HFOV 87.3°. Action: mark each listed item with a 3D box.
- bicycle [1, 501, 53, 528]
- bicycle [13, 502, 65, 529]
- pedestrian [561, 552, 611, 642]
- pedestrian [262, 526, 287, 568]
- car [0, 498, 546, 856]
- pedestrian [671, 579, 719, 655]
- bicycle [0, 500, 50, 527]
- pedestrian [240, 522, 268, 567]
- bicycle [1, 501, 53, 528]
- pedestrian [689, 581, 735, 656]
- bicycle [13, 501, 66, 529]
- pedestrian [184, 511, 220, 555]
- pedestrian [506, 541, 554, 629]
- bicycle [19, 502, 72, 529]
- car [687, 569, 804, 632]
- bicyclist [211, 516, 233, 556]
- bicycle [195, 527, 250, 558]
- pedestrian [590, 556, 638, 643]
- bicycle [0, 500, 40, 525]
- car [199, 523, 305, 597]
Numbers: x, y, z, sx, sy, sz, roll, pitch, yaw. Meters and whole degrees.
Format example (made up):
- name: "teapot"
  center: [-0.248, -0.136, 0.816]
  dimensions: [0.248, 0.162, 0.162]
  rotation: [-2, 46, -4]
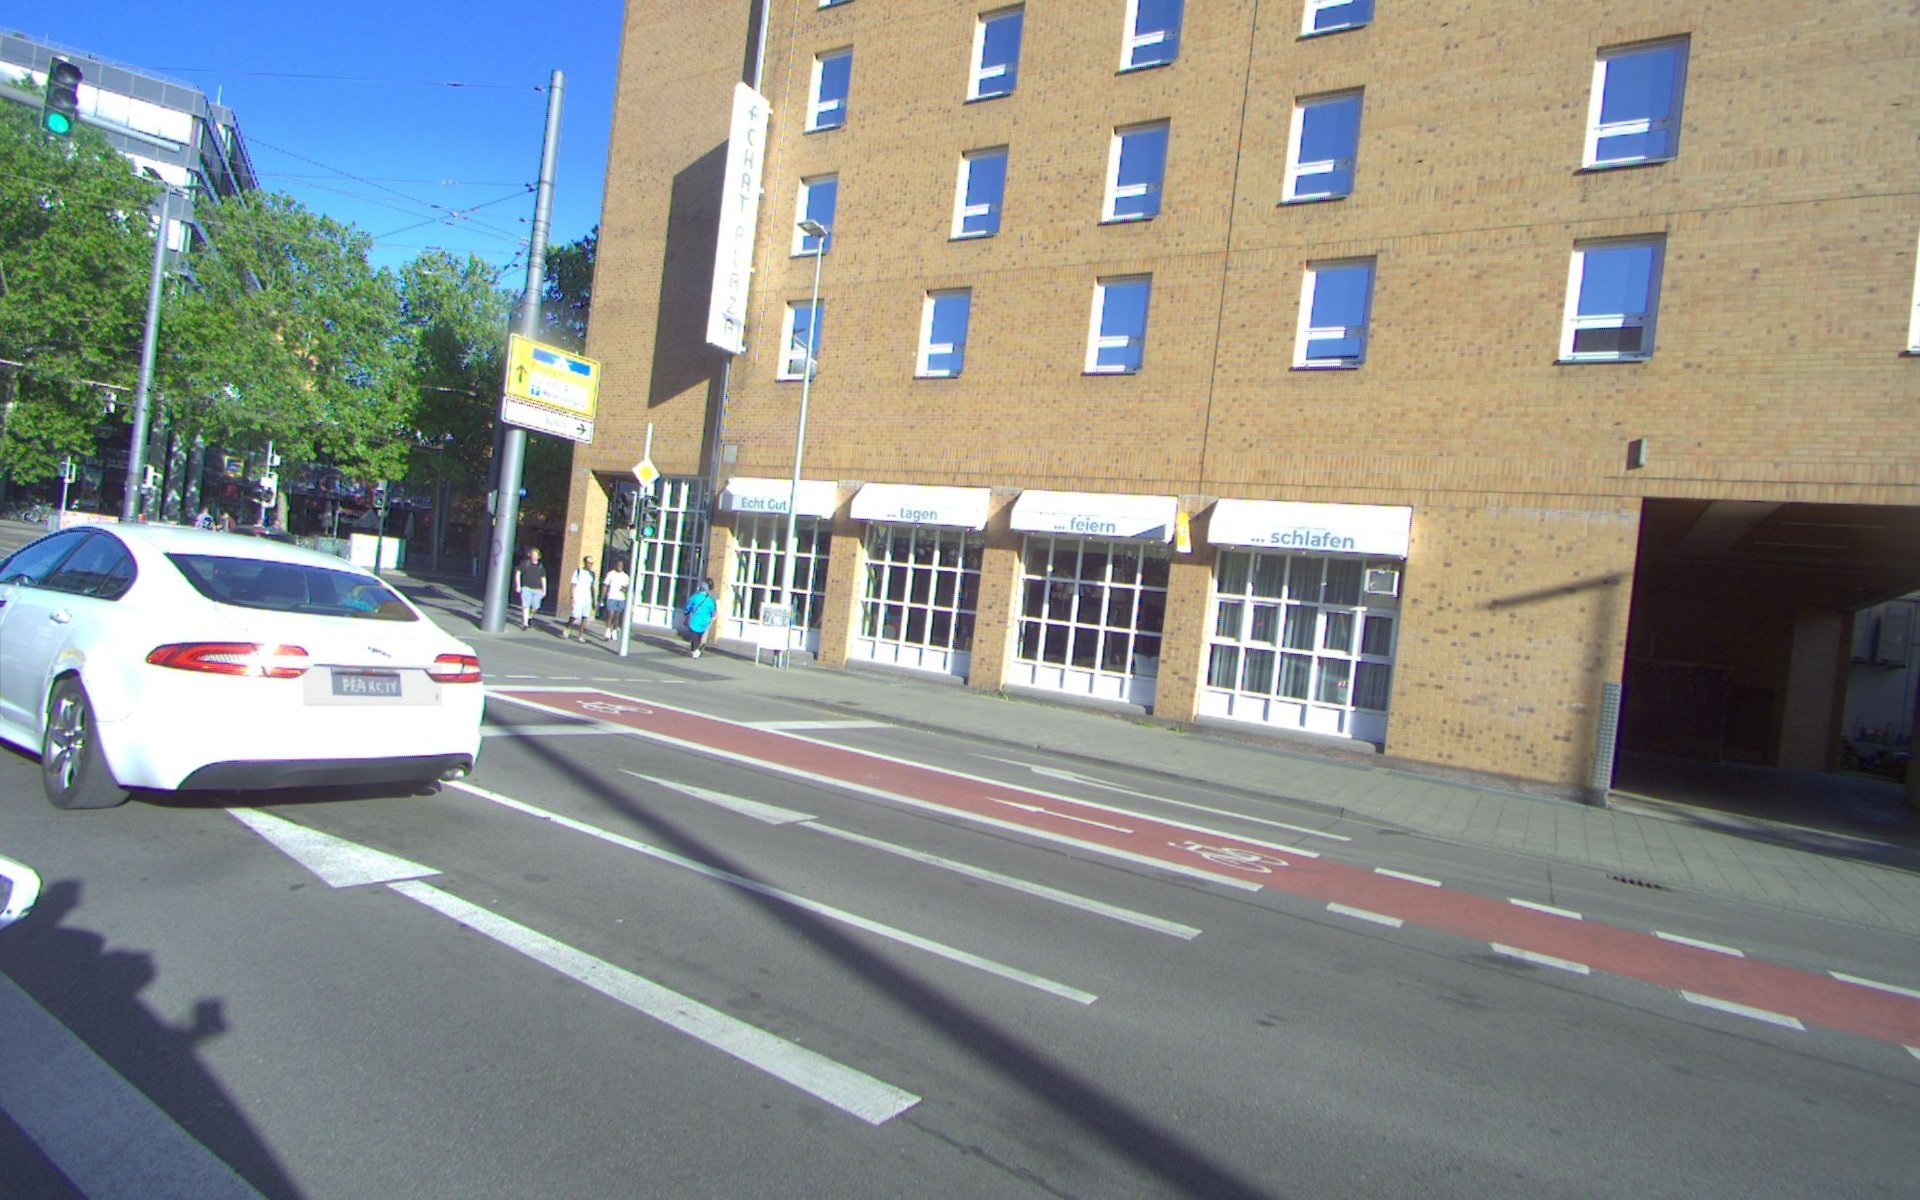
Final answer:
- name: "bicycle"
  center: [-48.398, -4.443, 52.199]
  dimensions: [0.354, 1.058, 1.884]
  rotation: [6, -2, 31]
- name: "bicycle"
  center: [-47.330, -4.338, 51.717]
  dimensions: [0.354, 1.058, 1.884]
  rotation: [6, -2, 31]
- name: "pedestrian"
  center: [-7.833, -0.059, 21.058]
  dimensions: [0.671, 1.804, 0.591]
  rotation: [8, 4, 37]
- name: "pedestrian"
  center: [-25.378, -1.957, 37.244]
  dimensions: [0.563, 1.496, 0.695]
  rotation: [8, -2, -37]
- name: "car"
  center: [-4.815, 0.249, 6.297]
  dimensions: [4.380, 1.447, 1.806]
  rotation: [7, -1, 32]
- name: "pedestrian"
  center: [-5.313, 0.339, 20.186]
  dimensions: [0.591, 1.472, 0.592]
  rotation: [6, 3, 32]
- name: "bicycle"
  center: [-49.150, -4.532, 52.822]
  dimensions: [0.354, 1.058, 1.885]
  rotation: [7, -2, 31]
- name: "pedestrian"
  center: [-25.760, -2.036, 36.718]
  dimensions: [0.693, 1.550, 0.565]
  rotation: [6, -2, 45]
- name: "bicycle"
  center: [-48.730, -4.482, 52.571]
  dimensions: [0.354, 1.058, 1.885]
  rotation: [7, -2, 31]
- name: "pedestrian"
  center: [-5.182, 0.387, 21.019]
  dimensions: [0.543, 1.495, 0.593]
  rotation: [6, 0, 32]
- name: "bicycle"
  center: [-46.752, -4.302, 51.121]
  dimensions: [0.354, 1.058, 1.884]
  rotation: [6, -2, 31]
- name: "pedestrian"
  center: [-32.125, -2.839, 42.656]
  dimensions: [0.747, 1.724, 0.834]
  rotation: [6, -1, 32]
- name: "pedestrian"
  center: [-9.447, -0.321, 22.136]
  dimensions: [0.726, 1.813, 0.510]
  rotation: [7, -1, -19]
- name: "bicycle"
  center: [-46.090, -4.246, 50.733]
  dimensions: [0.354, 1.058, 1.884]
  rotation: [6, -2, 31]
- name: "car"
  center: [-9.265, 0.036, 43.531]
  dimensions: [4.436, 2.031, 1.792]
  rotation: [9, -2, -36]
- name: "bicyclist"
  center: [-36.341, -3.144, 49.541]
  dimensions: [0.396, 1.859, 0.585]
  rotation: [6, -1, 31]
- name: "bicycle"
  center: [-36.336, -2.826, 49.595]
  dimensions: [0.414, 1.228, 2.046]
  rotation: [6, -2, 32]
- name: "pedestrian"
  center: [-7.503, -0.019, 21.827]
  dimensions: [0.673, 1.802, 0.591]
  rotation: [6, 1, 43]
- name: "bicycle"
  center: [-50.149, -4.648, 53.347]
  dimensions: [0.354, 1.058, 1.885]
  rotation: [7, -2, 31]
- name: "car"
  center: [-17.767, -1.044, 25.165]
  dimensions: [1.725, 1.467, 3.996]
  rotation: [9, -2, -40]
